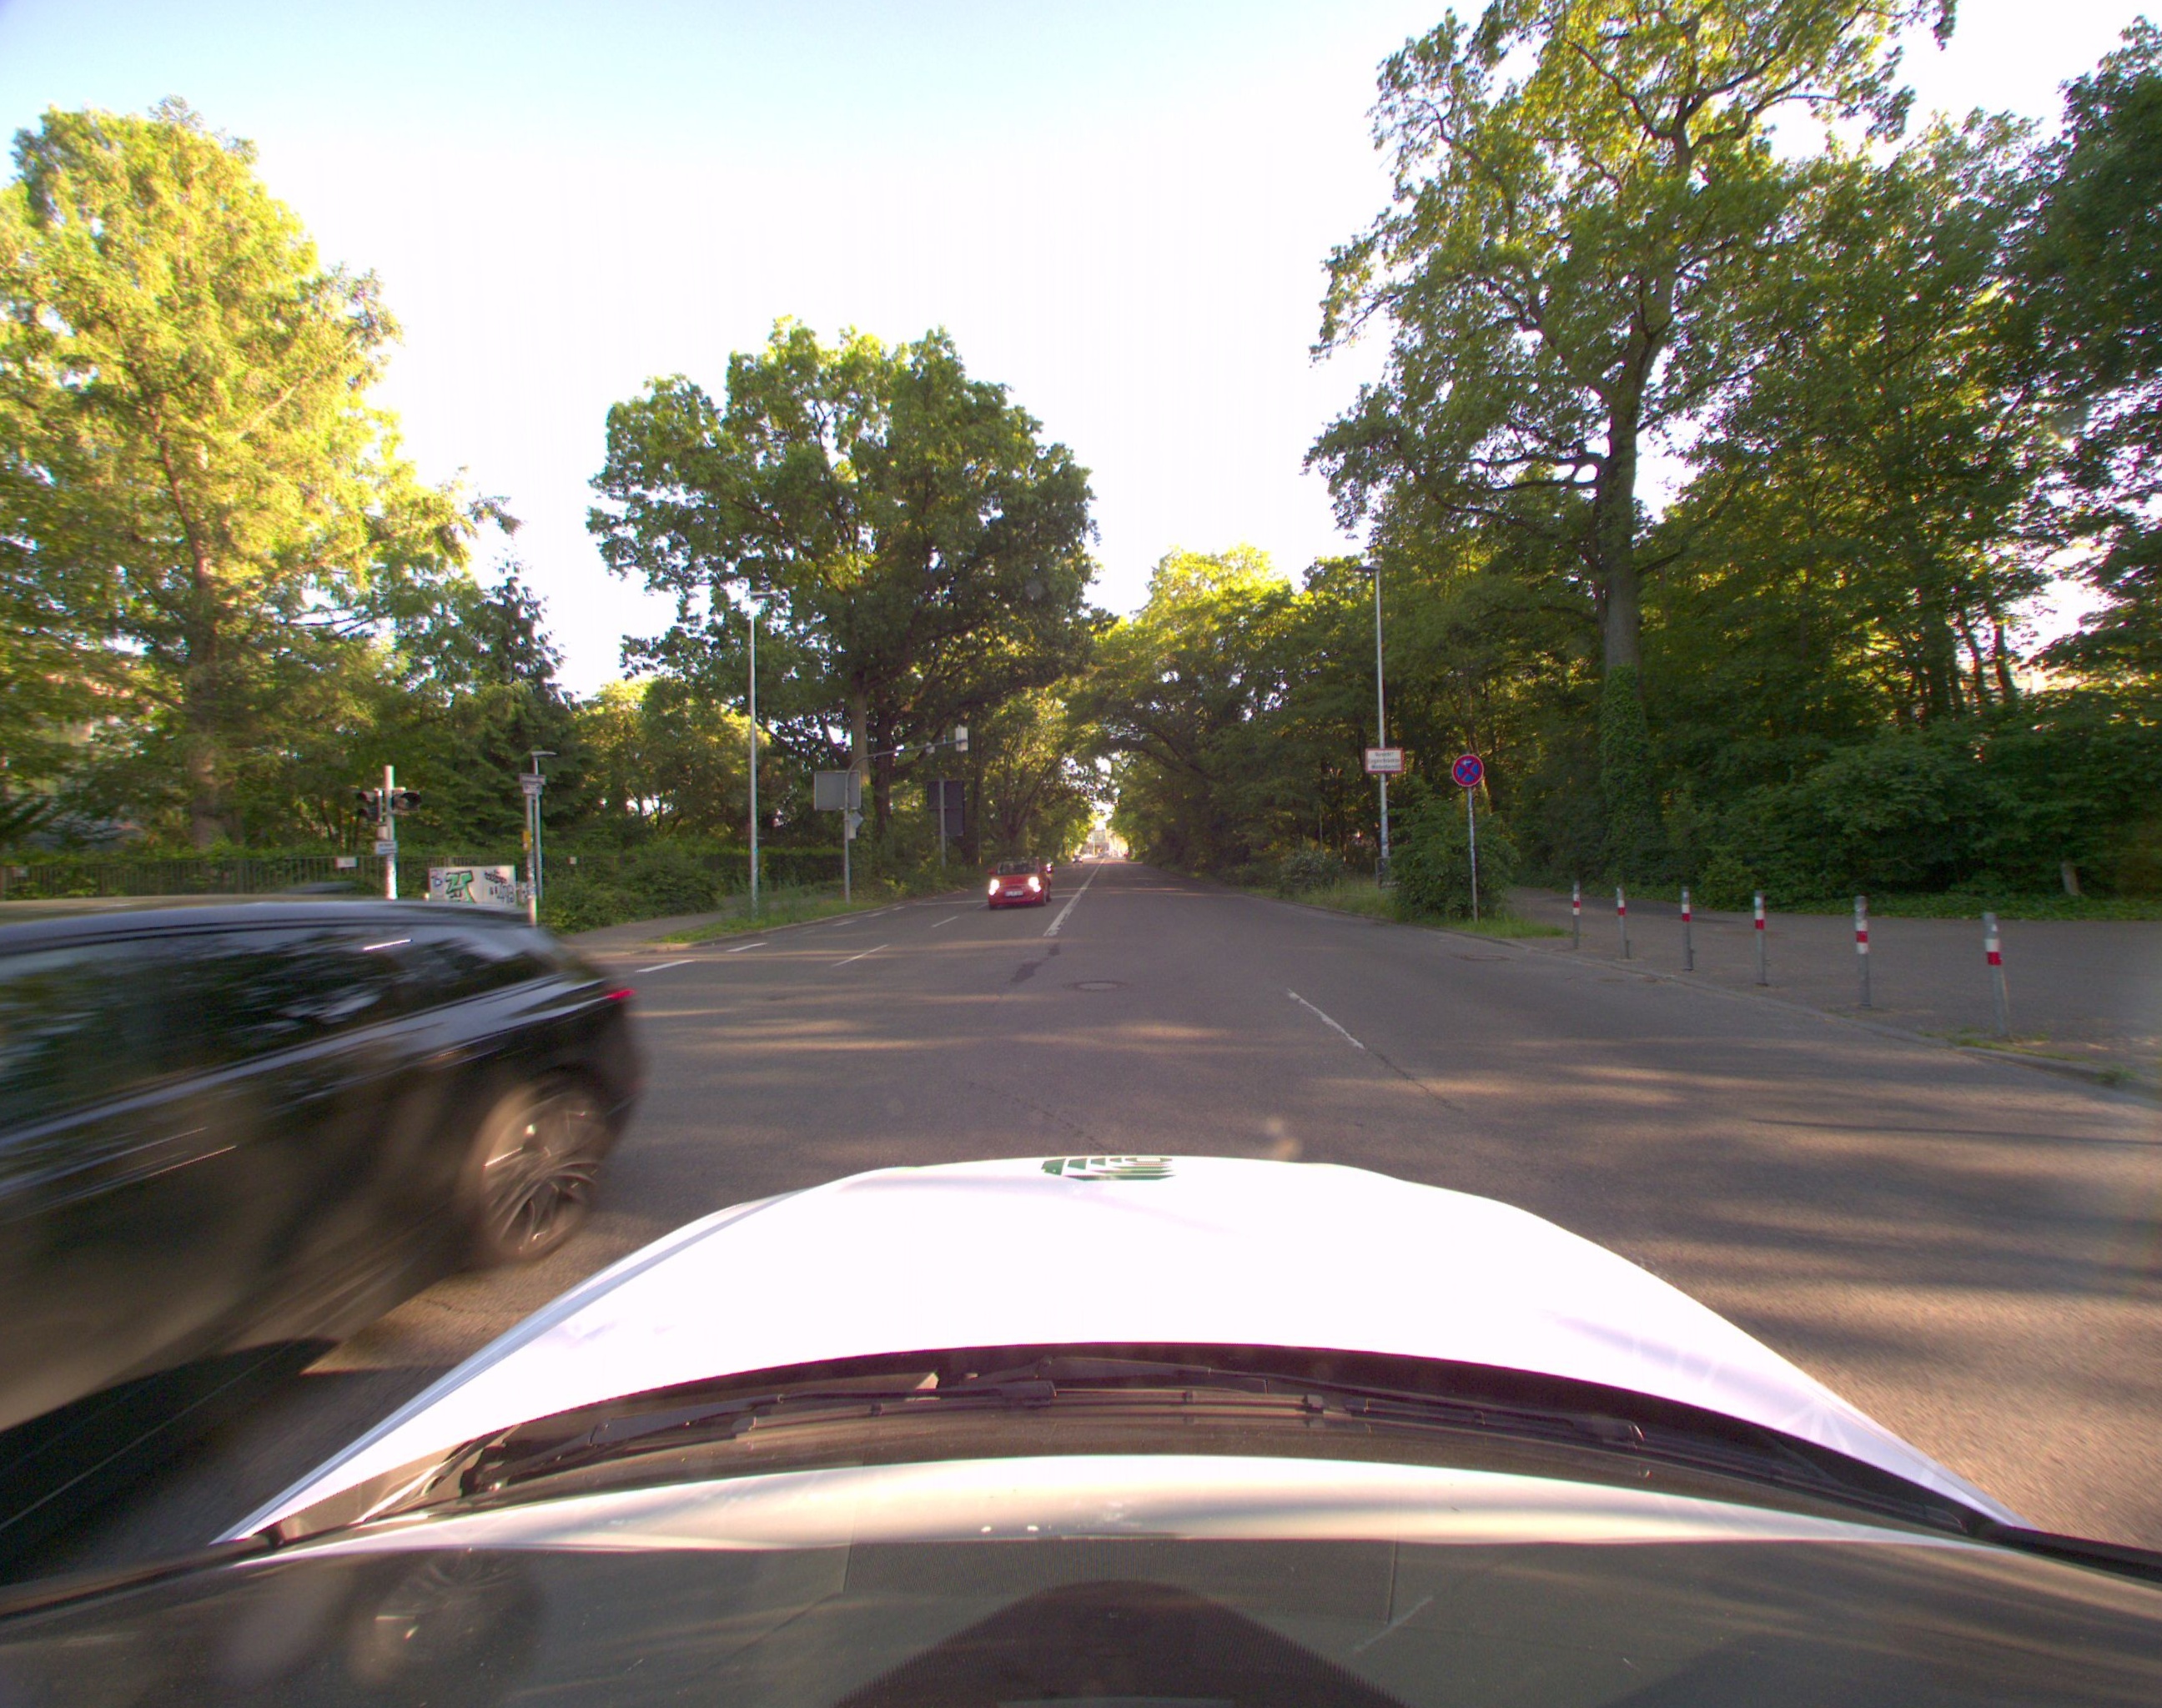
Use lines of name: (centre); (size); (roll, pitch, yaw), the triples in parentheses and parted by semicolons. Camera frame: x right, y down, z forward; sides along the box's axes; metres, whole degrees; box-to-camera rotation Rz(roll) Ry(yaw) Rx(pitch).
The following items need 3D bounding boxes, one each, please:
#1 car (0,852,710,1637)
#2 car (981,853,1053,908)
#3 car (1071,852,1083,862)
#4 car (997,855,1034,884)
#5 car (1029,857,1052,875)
car: (-3.059, 0.789, 2.055); (1.953, 1.506, 4.649); (-2, -1, 2)
car: (-1.894, 0.770, 25.166); (1.744, 1.456, 3.641); (-4, -1, 2)
car: (-0.648, 0.498, 144.096); (1.800, 1.580, 4.321); (-4, 0, 2)
car: (-3.866, 0.900, 48.675); (1.671, 1.523, 3.903); (-4, 0, 2)
car: (-3.585, 1.030, 72.351); (1.701, 1.453, 3.641); (-4, 0, 2)
